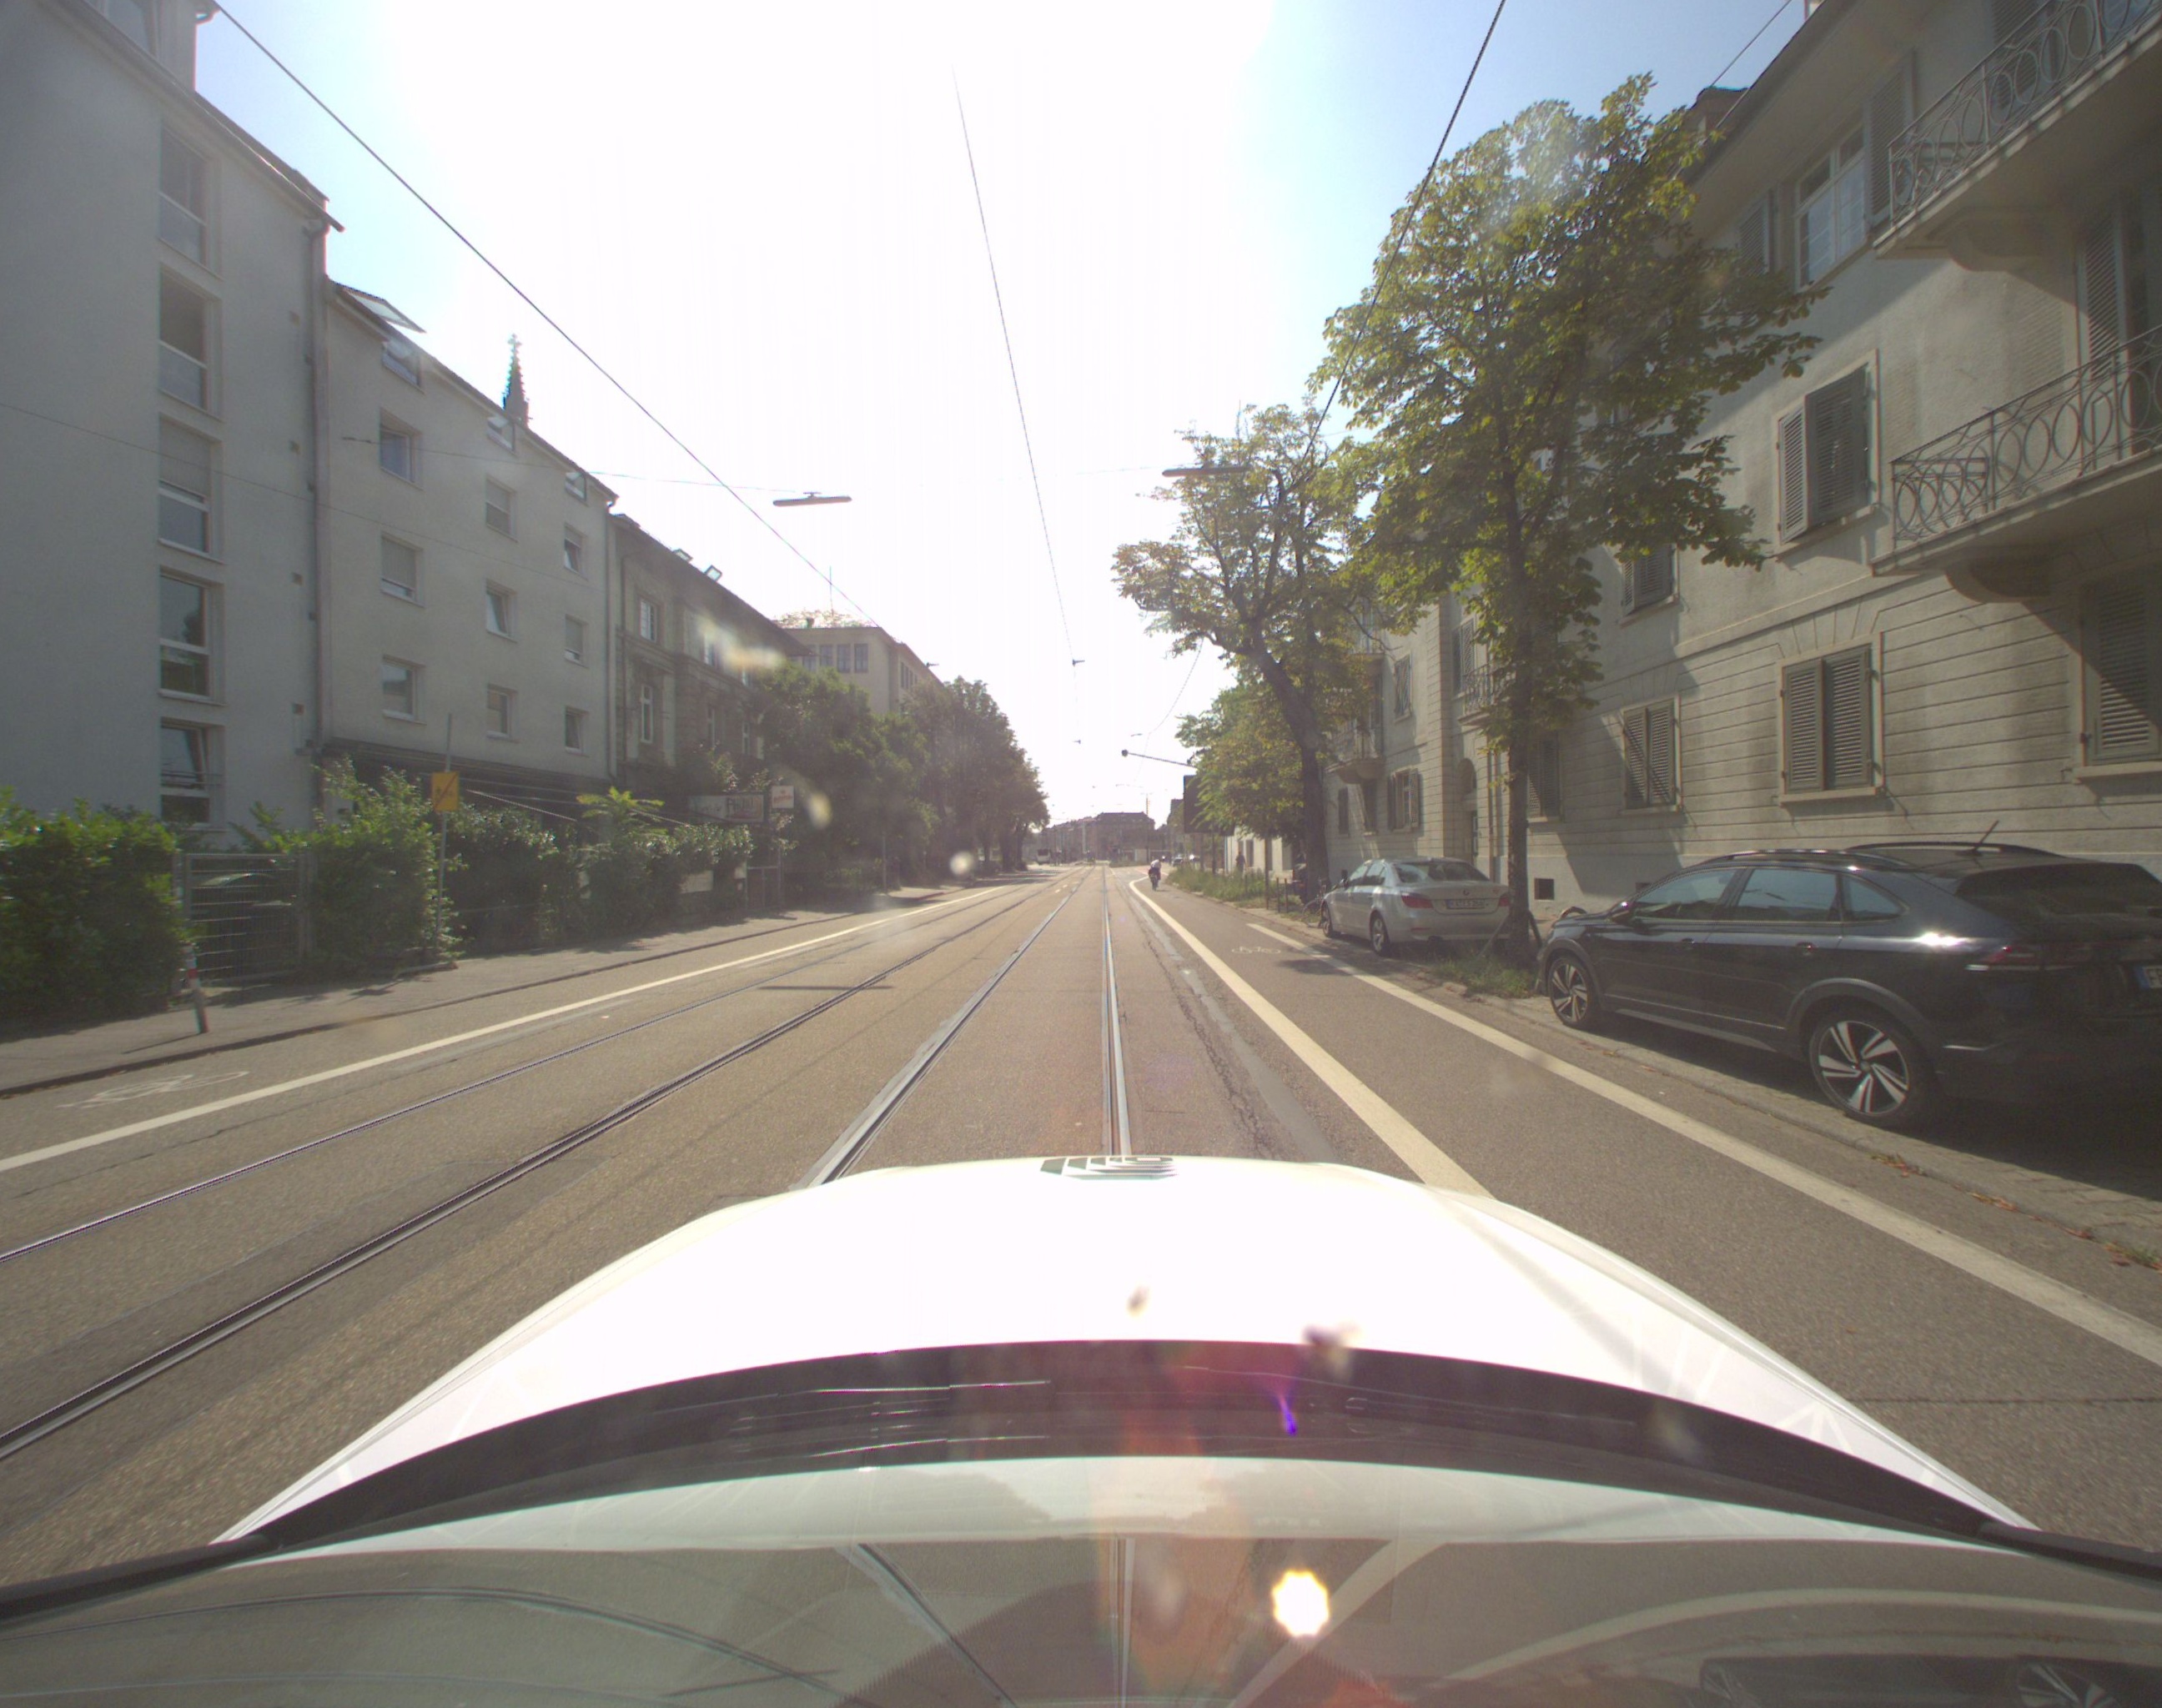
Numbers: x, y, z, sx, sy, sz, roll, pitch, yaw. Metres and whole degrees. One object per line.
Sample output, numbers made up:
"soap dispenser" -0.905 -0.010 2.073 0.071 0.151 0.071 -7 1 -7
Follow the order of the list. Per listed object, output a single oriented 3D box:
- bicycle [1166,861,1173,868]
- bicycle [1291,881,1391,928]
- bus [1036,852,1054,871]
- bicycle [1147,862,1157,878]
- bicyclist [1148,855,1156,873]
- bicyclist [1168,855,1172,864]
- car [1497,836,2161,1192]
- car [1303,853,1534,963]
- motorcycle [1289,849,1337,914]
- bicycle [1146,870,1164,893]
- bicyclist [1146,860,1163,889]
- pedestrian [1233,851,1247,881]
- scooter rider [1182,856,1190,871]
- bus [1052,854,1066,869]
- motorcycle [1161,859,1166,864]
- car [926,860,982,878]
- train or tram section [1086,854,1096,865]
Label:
"bicycle" 14.447 1.685 132.652 0.440 1.117 1.455 -2 -1 33
"bicycle" 5.511 1.067 17.329 1.914 0.952 0.721 -1 -1 4
"bus" -7.094 1.522 161.829 2.947 3.775 10.597 0 -1 1
"bicycle" 5.499 1.219 63.193 0.600 1.163 1.815 -1 -1 10
"bicyclist" 5.503 0.779 63.233 0.599 1.335 0.661 -1 -1 9
"bicyclist" 14.494 0.957 132.750 0.445 1.421 0.499 -2 -1 32
"car" 5.012 0.686 5.762 1.659 1.507 4.429 -2 0 -3
"car" 5.250 0.750 13.467 1.777 1.450 4.749 -2 0 -1
"motorcycle" 5.934 0.677 20.932 0.880 1.553 2.418 -2 -1 9
"bicycle" 3.583 1.302 39.696 0.736 1.049 2.234 0 0 2
"bicyclist" 3.577 0.996 39.718 0.742 1.412 0.962 0 0 2
"pedestrian" 9.308 0.713 47.713 0.689 1.732 0.580 -1 -1 3
"scooter rider" 12.541 1.094 97.297 0.756 1.775 0.557 -1 -1 18
"bus" -5.468 2.014 207.340 2.698 3.727 10.426 0 -1 3
"motorcycle" 17.407 1.567 171.673 0.600 1.211 2.261 -1 -1 12
"car" -10.884 1.273 69.821 4.437 1.462 1.806 0 -1 -26
"train or tram section" 3.241 1.732 258.767 2.846 3.548 17.745 0 -1 1
